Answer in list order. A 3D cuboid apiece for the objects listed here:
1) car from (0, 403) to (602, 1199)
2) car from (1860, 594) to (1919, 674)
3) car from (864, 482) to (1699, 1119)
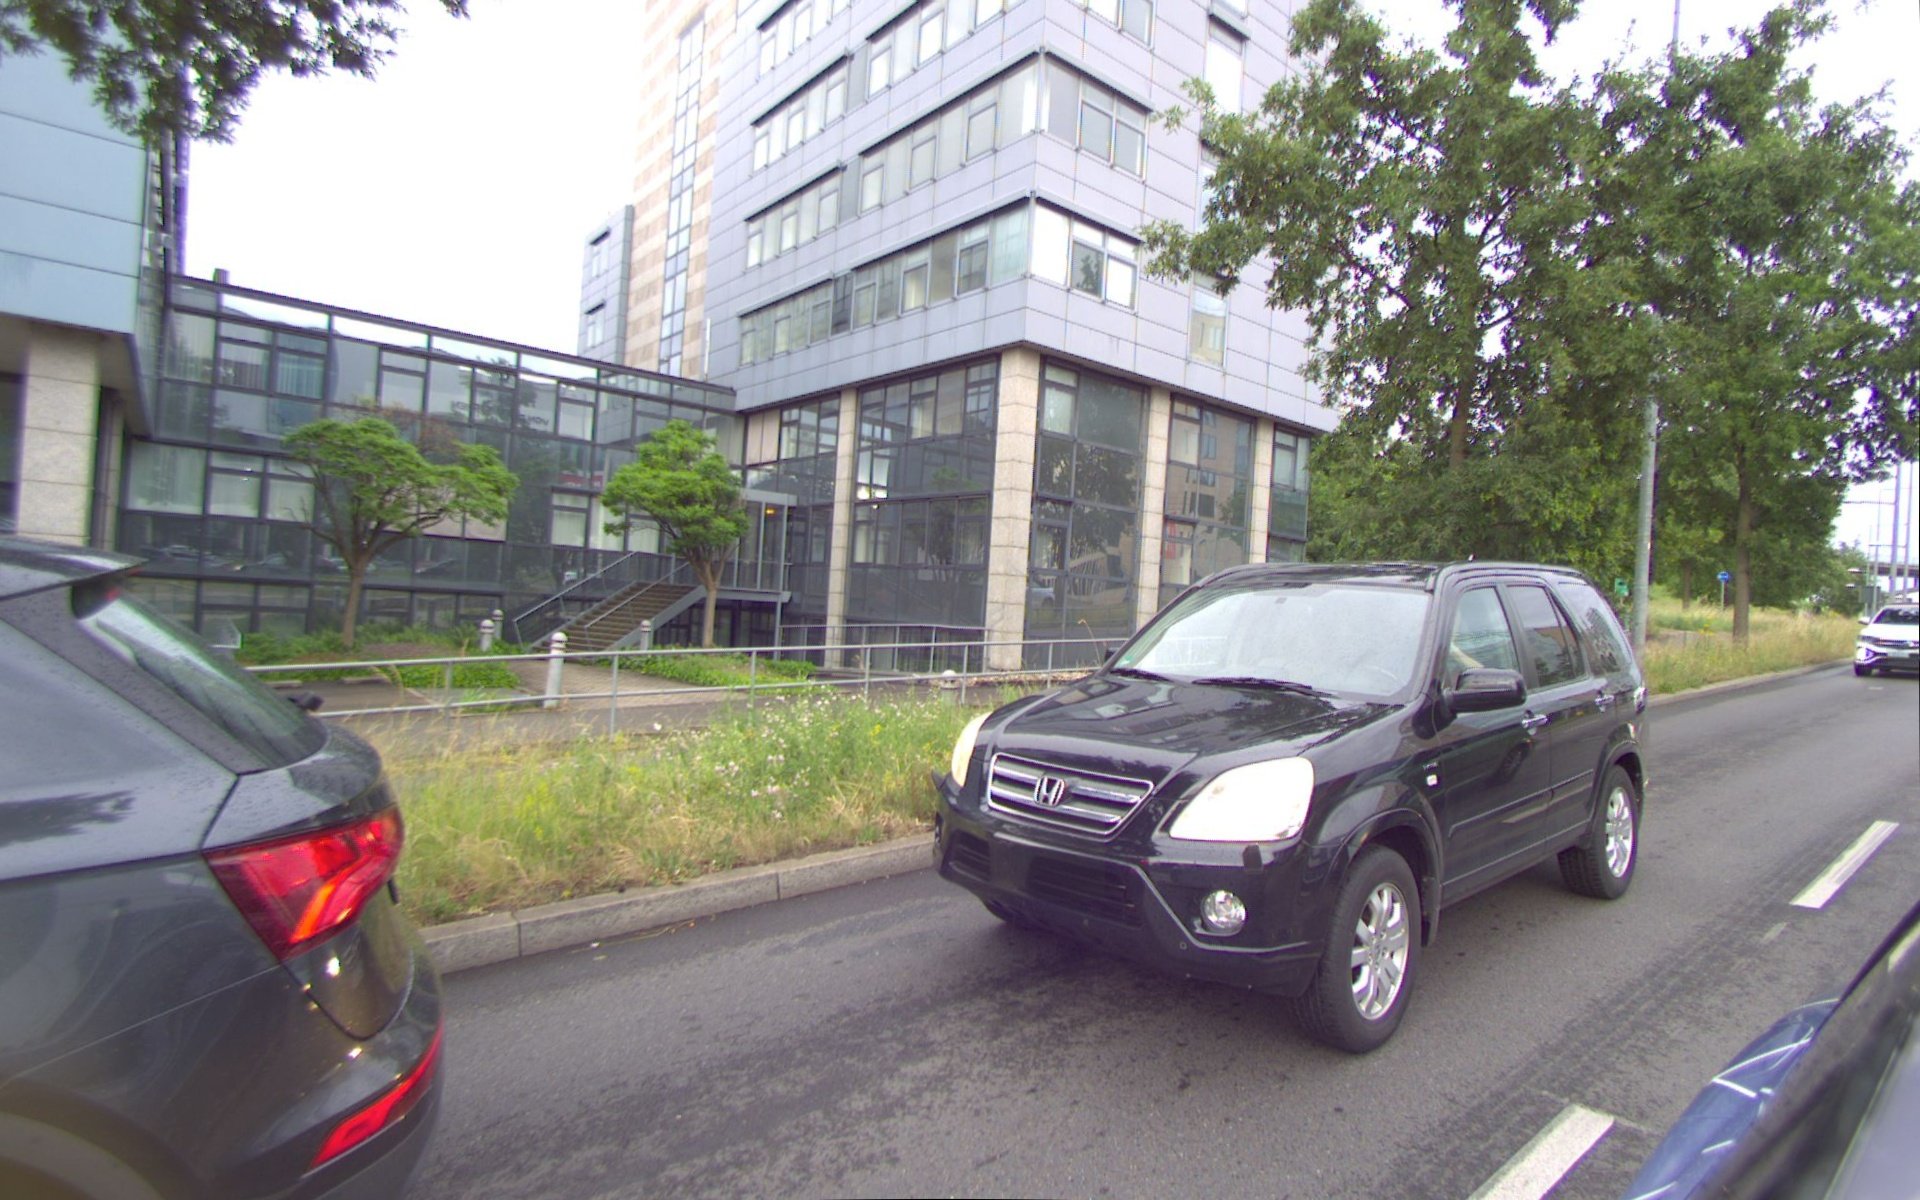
[{"bbox_3d":[-2.885,0.546,1.040,4.392,1.633,1.821,0,1,-41],"label":"car"},{"bbox_3d":[19.882,0.654,20.567,3.699,1.522,1.827,0,1,-39],"label":"car"},{"bbox_3d":[1.802,0.509,4.737,4.262,1.679,1.758,0,1,-41],"label":"car"}]
